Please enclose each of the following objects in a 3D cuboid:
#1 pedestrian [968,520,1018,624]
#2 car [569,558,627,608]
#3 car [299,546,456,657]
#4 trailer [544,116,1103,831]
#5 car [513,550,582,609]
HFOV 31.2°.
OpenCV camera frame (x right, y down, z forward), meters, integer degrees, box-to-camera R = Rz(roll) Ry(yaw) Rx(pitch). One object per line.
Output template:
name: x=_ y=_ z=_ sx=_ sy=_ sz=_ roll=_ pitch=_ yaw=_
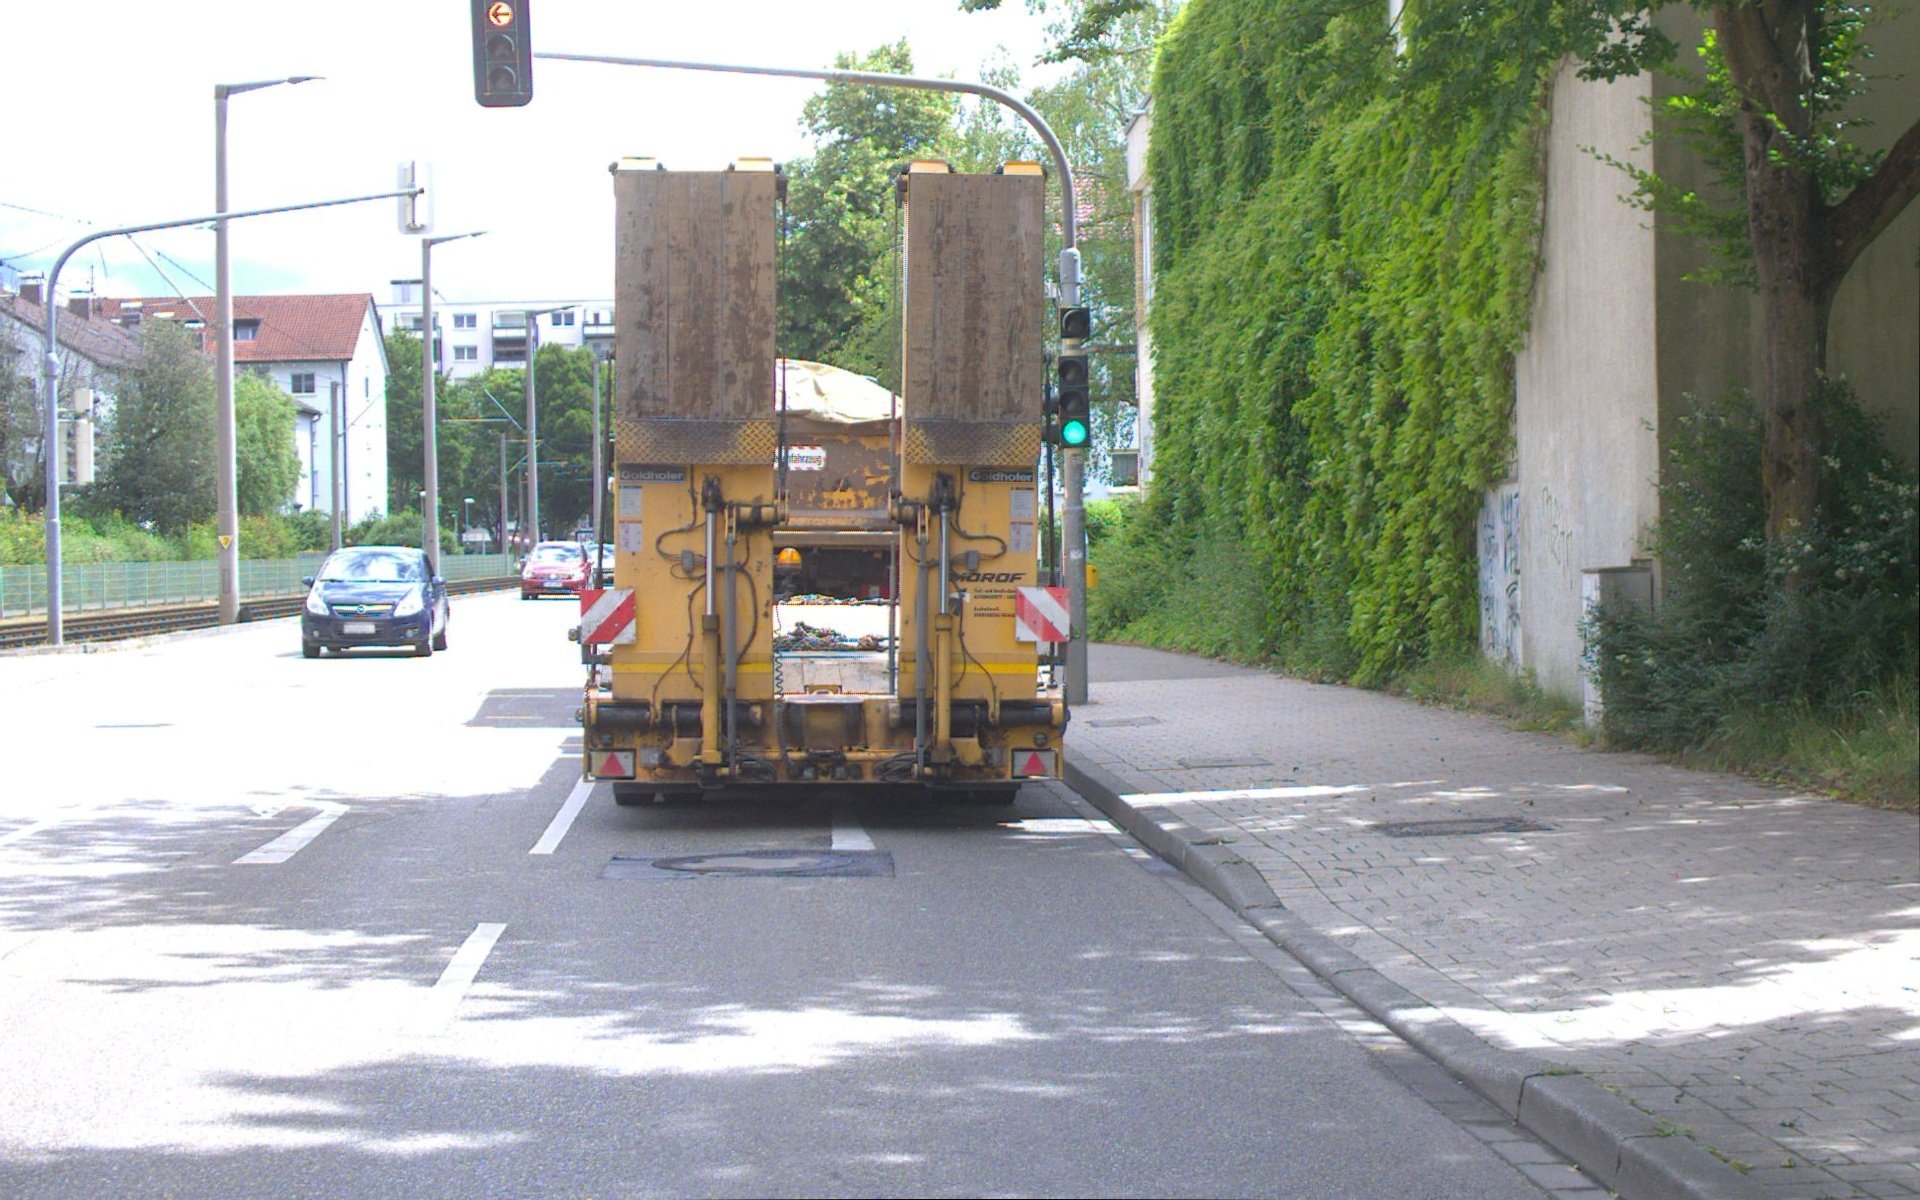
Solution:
pedestrian: x=0.570 y=-0.483 z=59.110 sx=0.809 sy=1.765 sz=0.816 roll=1 pitch=0 yaw=3
car: x=-11.453 y=-0.556 z=108.933 sx=1.760 sy=1.547 sz=4.001 roll=0 pitch=1 yaw=-6
car: x=-7.877 y=0.006 z=46.797 sx=1.717 sy=1.436 sz=4.009 roll=0 pitch=0 yaw=-4
trailer: x=-1.228 y=-0.705 z=23.833 sx=2.827 sy=3.633 sz=12.356 roll=1 pitch=1 yaw=-5
car: x=-11.208 y=-0.555 z=93.519 sx=1.663 sy=1.547 sz=4.001 roll=1 pitch=1 yaw=-4
